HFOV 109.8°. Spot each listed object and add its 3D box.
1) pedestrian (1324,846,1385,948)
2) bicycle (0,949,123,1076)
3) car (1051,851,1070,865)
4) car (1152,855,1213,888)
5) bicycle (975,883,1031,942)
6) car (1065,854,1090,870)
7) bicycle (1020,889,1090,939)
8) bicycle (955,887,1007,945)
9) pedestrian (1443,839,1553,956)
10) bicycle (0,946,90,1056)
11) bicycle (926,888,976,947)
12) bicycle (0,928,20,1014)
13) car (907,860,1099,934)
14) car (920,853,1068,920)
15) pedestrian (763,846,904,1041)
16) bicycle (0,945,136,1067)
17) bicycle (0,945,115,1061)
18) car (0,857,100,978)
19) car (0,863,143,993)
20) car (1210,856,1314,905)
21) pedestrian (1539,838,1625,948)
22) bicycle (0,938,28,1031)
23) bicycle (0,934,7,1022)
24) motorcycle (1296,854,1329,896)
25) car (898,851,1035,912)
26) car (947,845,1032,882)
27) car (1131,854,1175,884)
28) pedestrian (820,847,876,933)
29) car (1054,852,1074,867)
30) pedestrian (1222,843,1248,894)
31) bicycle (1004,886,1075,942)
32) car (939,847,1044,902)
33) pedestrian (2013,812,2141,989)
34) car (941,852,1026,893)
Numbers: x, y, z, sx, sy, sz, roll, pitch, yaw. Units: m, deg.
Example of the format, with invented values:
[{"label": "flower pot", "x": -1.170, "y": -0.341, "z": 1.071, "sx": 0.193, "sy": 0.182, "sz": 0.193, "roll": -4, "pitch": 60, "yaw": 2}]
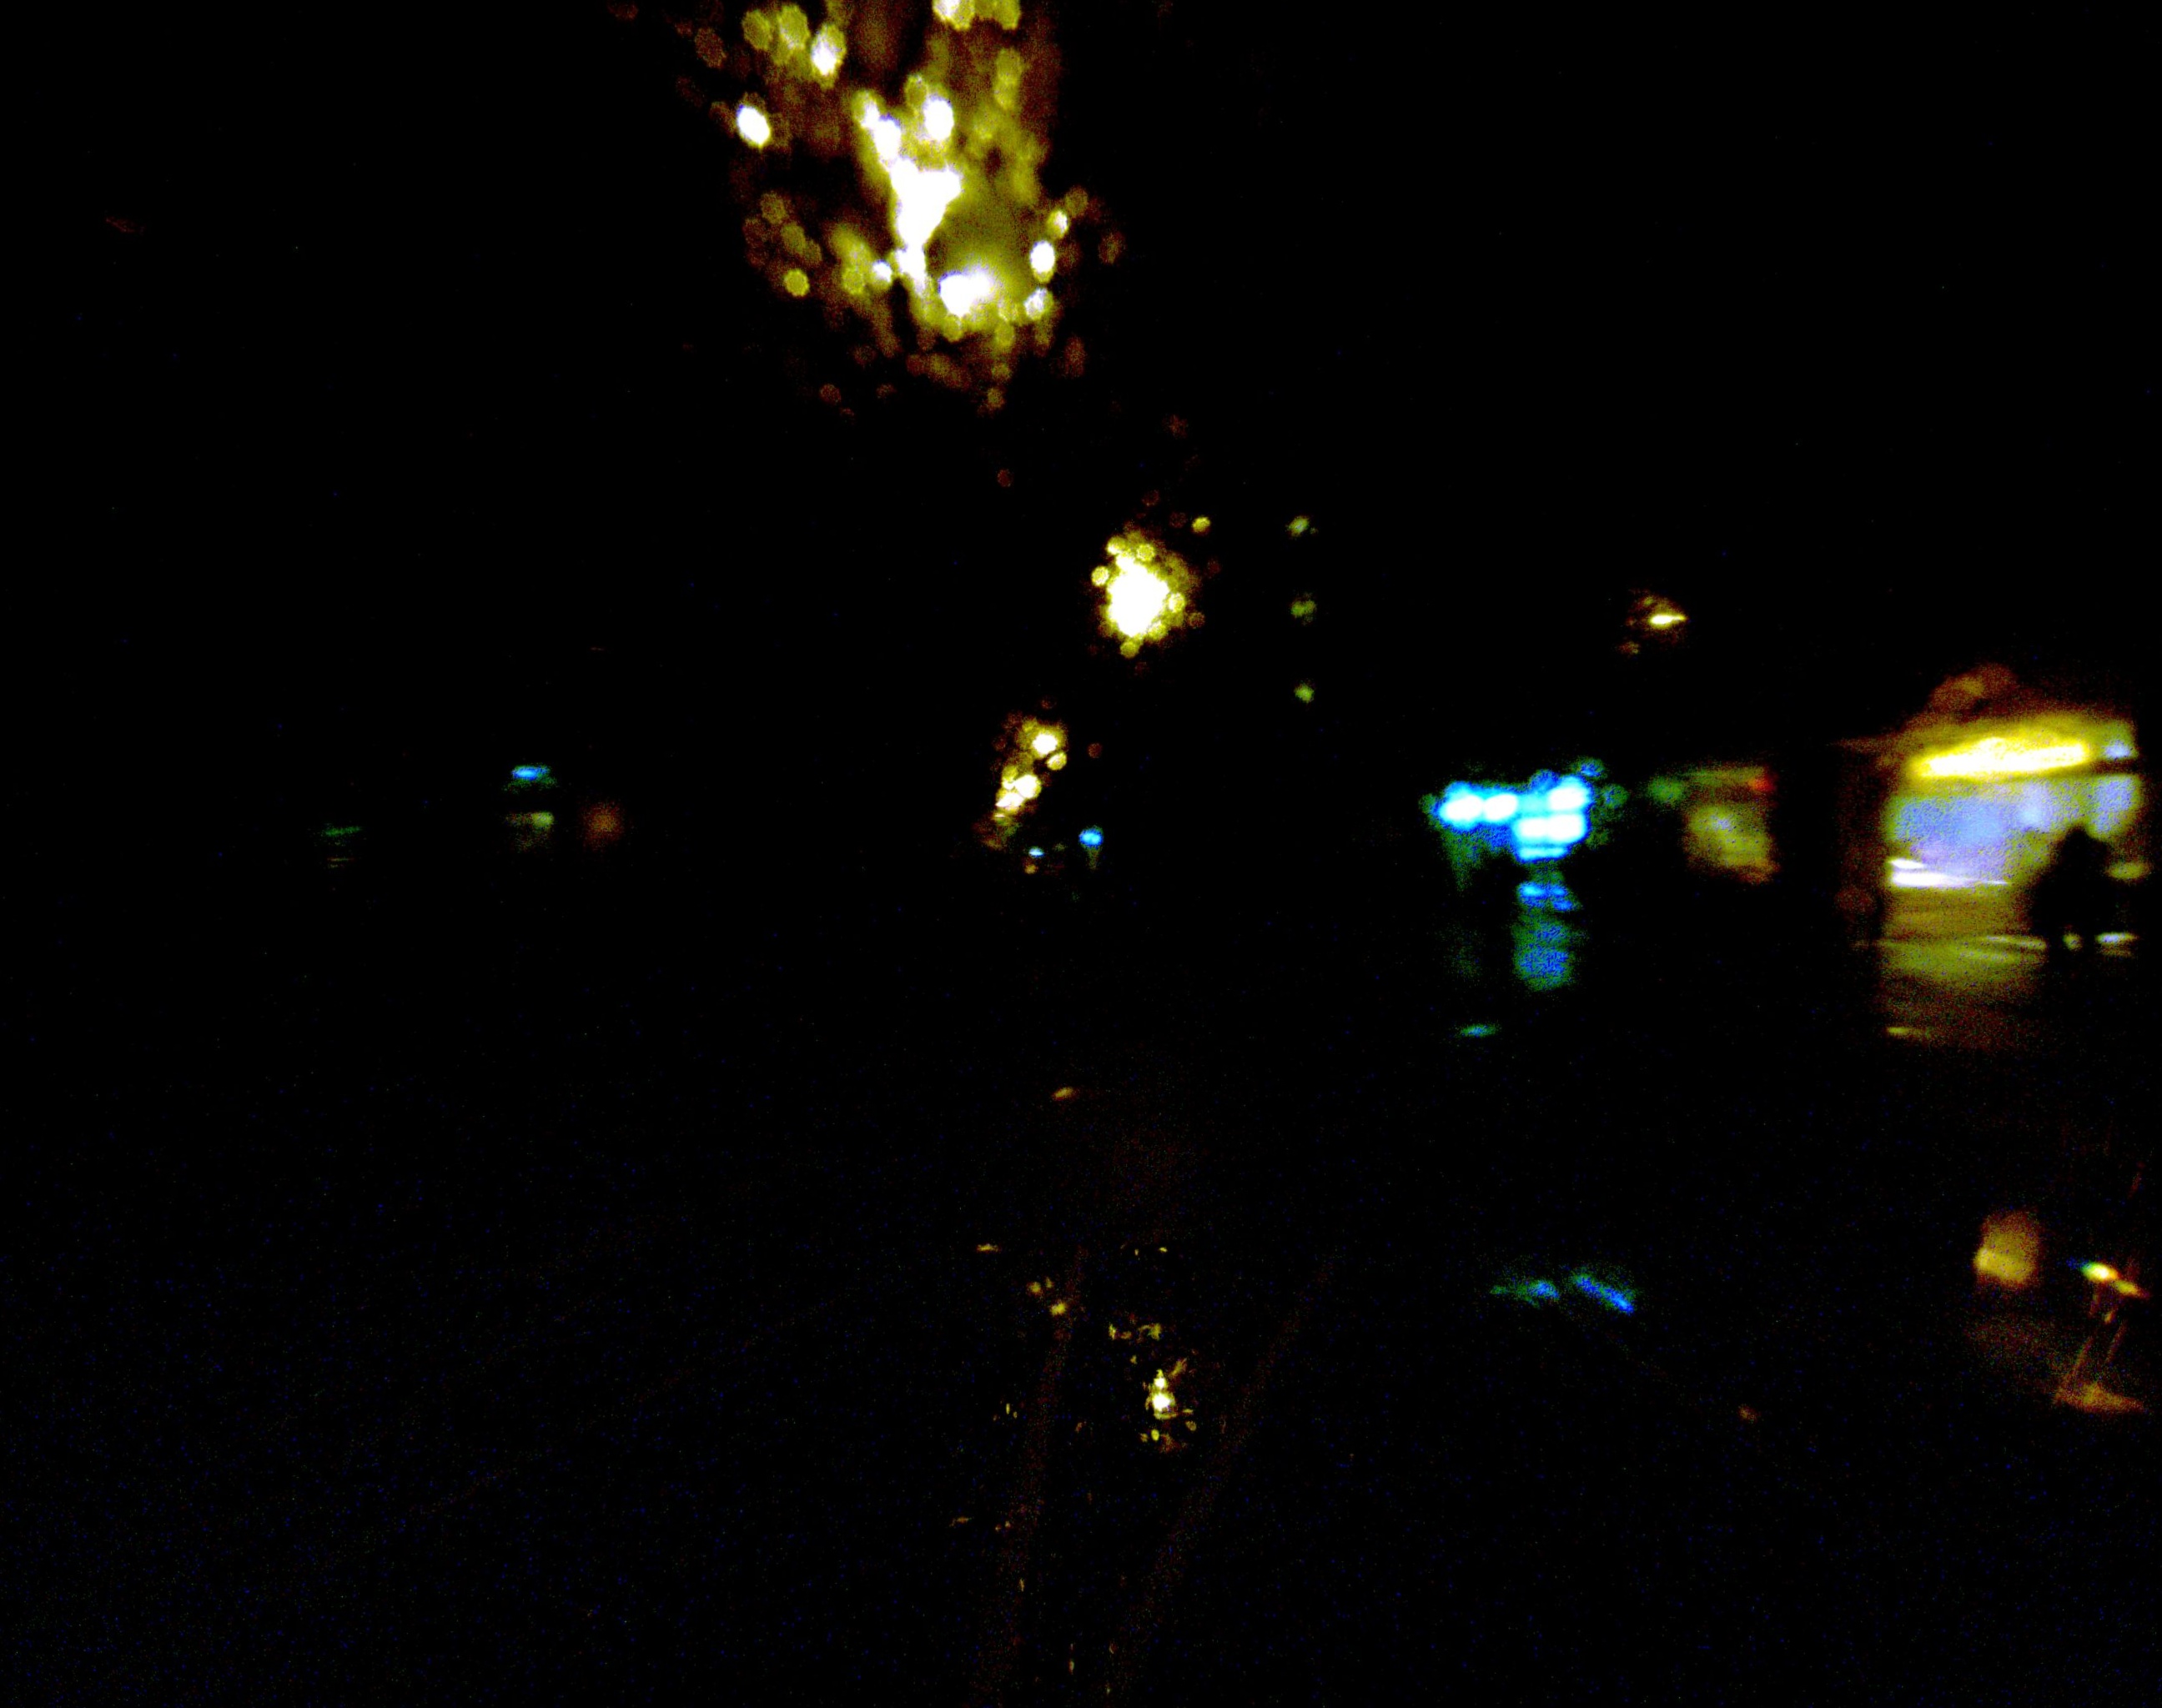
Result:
[{"label": "pedestrian", "x": 4.865, "y": 0.749, "z": 13.552, "sx": 0.828, "sy": 1.761, "sz": 0.600, "roll": -2, "pitch": 1, "yaw": 4}, {"label": "bicycle", "x": -9.562, "y": 1.412, "z": 6.394, "sx": 0.454, "sy": 1.003, "sz": 1.812, "roll": -1, "pitch": 0, "yaw": 17}, {"label": "car", "x": -2.453, "y": 0.431, "z": 91.606, "sx": 1.853, "sy": 1.571, "sz": 3.732, "roll": -3, "pitch": 0, "yaw": -8}, {"label": "car", "x": 4.867, "y": 0.788, "z": 37.021, "sx": 1.722, "sy": 1.470, "sz": 4.156, "roll": -2, "pitch": 0, "yaw": -11}, {"label": "bicycle", "x": -1.615, "y": 1.173, "z": 15.575, "sx": 0.336, "sy": 1.021, "sz": 1.641, "roll": -3, "pitch": 5, "yaw": -37}, {"label": "car", "x": -0.382, "y": 0.779, "z": 75.096, "sx": 1.853, "sy": 1.470, "sz": 3.732, "roll": -3, "pitch": 0, "yaw": -8}, {"label": "bicycle", "x": -0.574, "y": 1.274, "z": 16.429, "sx": 1.641, "sy": 1.020, "sz": 0.337, "roll": -1, "pitch": -1, "yaw": 36}, {"label": "bicycle", "x": -2.040, "y": 1.222, "z": 15.347, "sx": 0.336, "sy": 1.086, "sz": 1.642, "roll": 0, "pitch": -1, "yaw": -34}, {"label": "pedestrian", "x": 7.069, "y": 0.700, "z": 12.964, "sx": 0.958, "sy": 1.852, "sz": 1.414, "roll": -1, "pitch": 0, "yaw": -9}, {"label": "bicycle", "x": -10.795, "y": 1.466, "z": 7.110, "sx": 0.403, "sy": 1.003, "sz": 1.812, "roll": -1, "pitch": 0, "yaw": 17}, {"label": "bicycle", "x": -2.603, "y": 1.228, "z": 15.069, "sx": 0.336, "sy": 1.020, "sz": 1.642, "roll": 0, "pitch": 1, "yaw": -34}, {"label": "bicycle", "x": -13.266, "y": 1.401, "z": 8.374, "sx": 0.403, "sy": 1.003, "sz": 1.780, "roll": -1, "pitch": 0, "yaw": 17}, {"label": "car", "x": -1.815, "y": 0.952, "z": 18.310, "sx": 4.271, "sy": 1.564, "sz": 1.767, "roll": 1, "pitch": 0, "yaw": -36}, {"label": "car", "x": -2.367, "y": 0.854, "z": 21.210, "sx": 3.748, "sy": 1.702, "sz": 1.767, "roll": 1, "pitch": 0, "yaw": -42}, {"label": "pedestrian", "x": -2.489, "y": 0.837, "z": 7.717, "sx": 0.876, "sy": 1.823, "sz": 0.985, "roll": -1, "pitch": 1, "yaw": 28}, {"label": "bicycle", "x": -9.967, "y": 1.425, "z": 6.827, "sx": 0.403, "sy": 1.003, "sz": 1.812, "roll": -1, "pitch": 0, "yaw": 17}, {"label": "bicycle", "x": -10.371, "y": 1.442, "z": 6.987, "sx": 0.379, "sy": 1.003, "sz": 1.812, "roll": -1, "pitch": 0, "yaw": 17}, {"label": "car", "x": -18.377, "y": 1.058, "z": 10.458, "sx": 1.996, "sy": 1.879, "sz": 5.554, "roll": -2, "pitch": 0, "yaw": 15}, {"label": "car", "x": -16.162, "y": 1.075, "z": 9.536, "sx": 1.996, "sy": 1.752, "sz": 5.102, "roll": -2, "pitch": 0, "yaw": 15}, {"label": "car", "x": 6.190, "y": 0.837, "z": 26.616, "sx": 1.853, "sy": 1.470, "sz": 5.027, "roll": -2, "pitch": 0, "yaw": -7}, {"label": "pedestrian", "x": 8.792, "y": 0.652, "z": 13.373, "sx": 0.676, "sy": 1.822, "sz": 1.077, "roll": -3, "pitch": 1, "yaw": -6}, {"label": "bicycle", "x": -12.272, "y": 1.443, "z": 7.704, "sx": 0.403, "sy": 1.003, "sz": 1.812, "roll": -1, "pitch": 0, "yaw": 17}, {"label": "bicycle", "x": -12.797, "y": 1.419, "z": 7.914, "sx": 0.403, "sy": 1.003, "sz": 1.812, "roll": -1, "pitch": 0, "yaw": 17}, {"label": "motorcycle", "x": 8.553, "y": 0.756, "z": 28.099, "sx": 0.538, "sy": 1.462, "sz": 1.456, "roll": -3, "pitch": 1, "yaw": -8}, {"label": "car", "x": -3.429, "y": 0.785, "z": 23.119, "sx": 3.802, "sy": 1.702, "sz": 1.743, "roll": 1, "pitch": 0, "yaw": -42}, {"label": "car", "x": -5.554, "y": 0.529, "z": 46.445, "sx": 4.719, "sy": 1.969, "sz": 1.974, "roll": -3, "pitch": 2, "yaw": -37}, {"label": "car", "x": 3.957, "y": 0.792, "z": 42.308, "sx": 1.721, "sy": 1.470, "sz": 3.783, "roll": -3, "pitch": 0, "yaw": -6}, {"label": "pedestrian", "x": -5.055, "y": 0.754, "z": 16.518, "sx": 0.790, "sy": 1.807, "sz": 0.811, "roll": 0, "pitch": 2, "yaw": 17}, {"label": "car", "x": -1.934, "y": 0.661, "z": 86.441, "sx": 1.853, "sy": 1.571, "sz": 3.732, "roll": -3, "pitch": 0, "yaw": -8}, {"label": "pedestrian", "x": 6.934, "y": 0.647, "z": 34.265, "sx": 0.801, "sy": 2.228, "sz": 1.115, "roll": -1, "pitch": 1, "yaw": -9}, {"label": "bicycle", "x": -0.890, "y": 1.230, "z": 15.847, "sx": 1.641, "sy": 1.020, "sz": 0.337, "roll": 2, "pitch": 1, "yaw": 38}, {"label": "car", "x": -3.436, "y": 0.763, "z": 29.495, "sx": 3.748, "sy": 2.016, "sz": 1.716, "roll": 1, "pitch": 0, "yaw": -43}, {"label": "pedestrian", "x": 11.179, "y": 0.505, "z": 8.556, "sx": 0.653, "sy": 1.897, "sz": 0.630, "roll": -1, "pitch": 0, "yaw": 27}, {"label": "car", "x": -4.834, "y": 0.879, "z": 37.850, "sx": 3.943, "sy": 1.931, "sz": 1.738, "roll": 1, "pitch": 0, "yaw": -45}]
